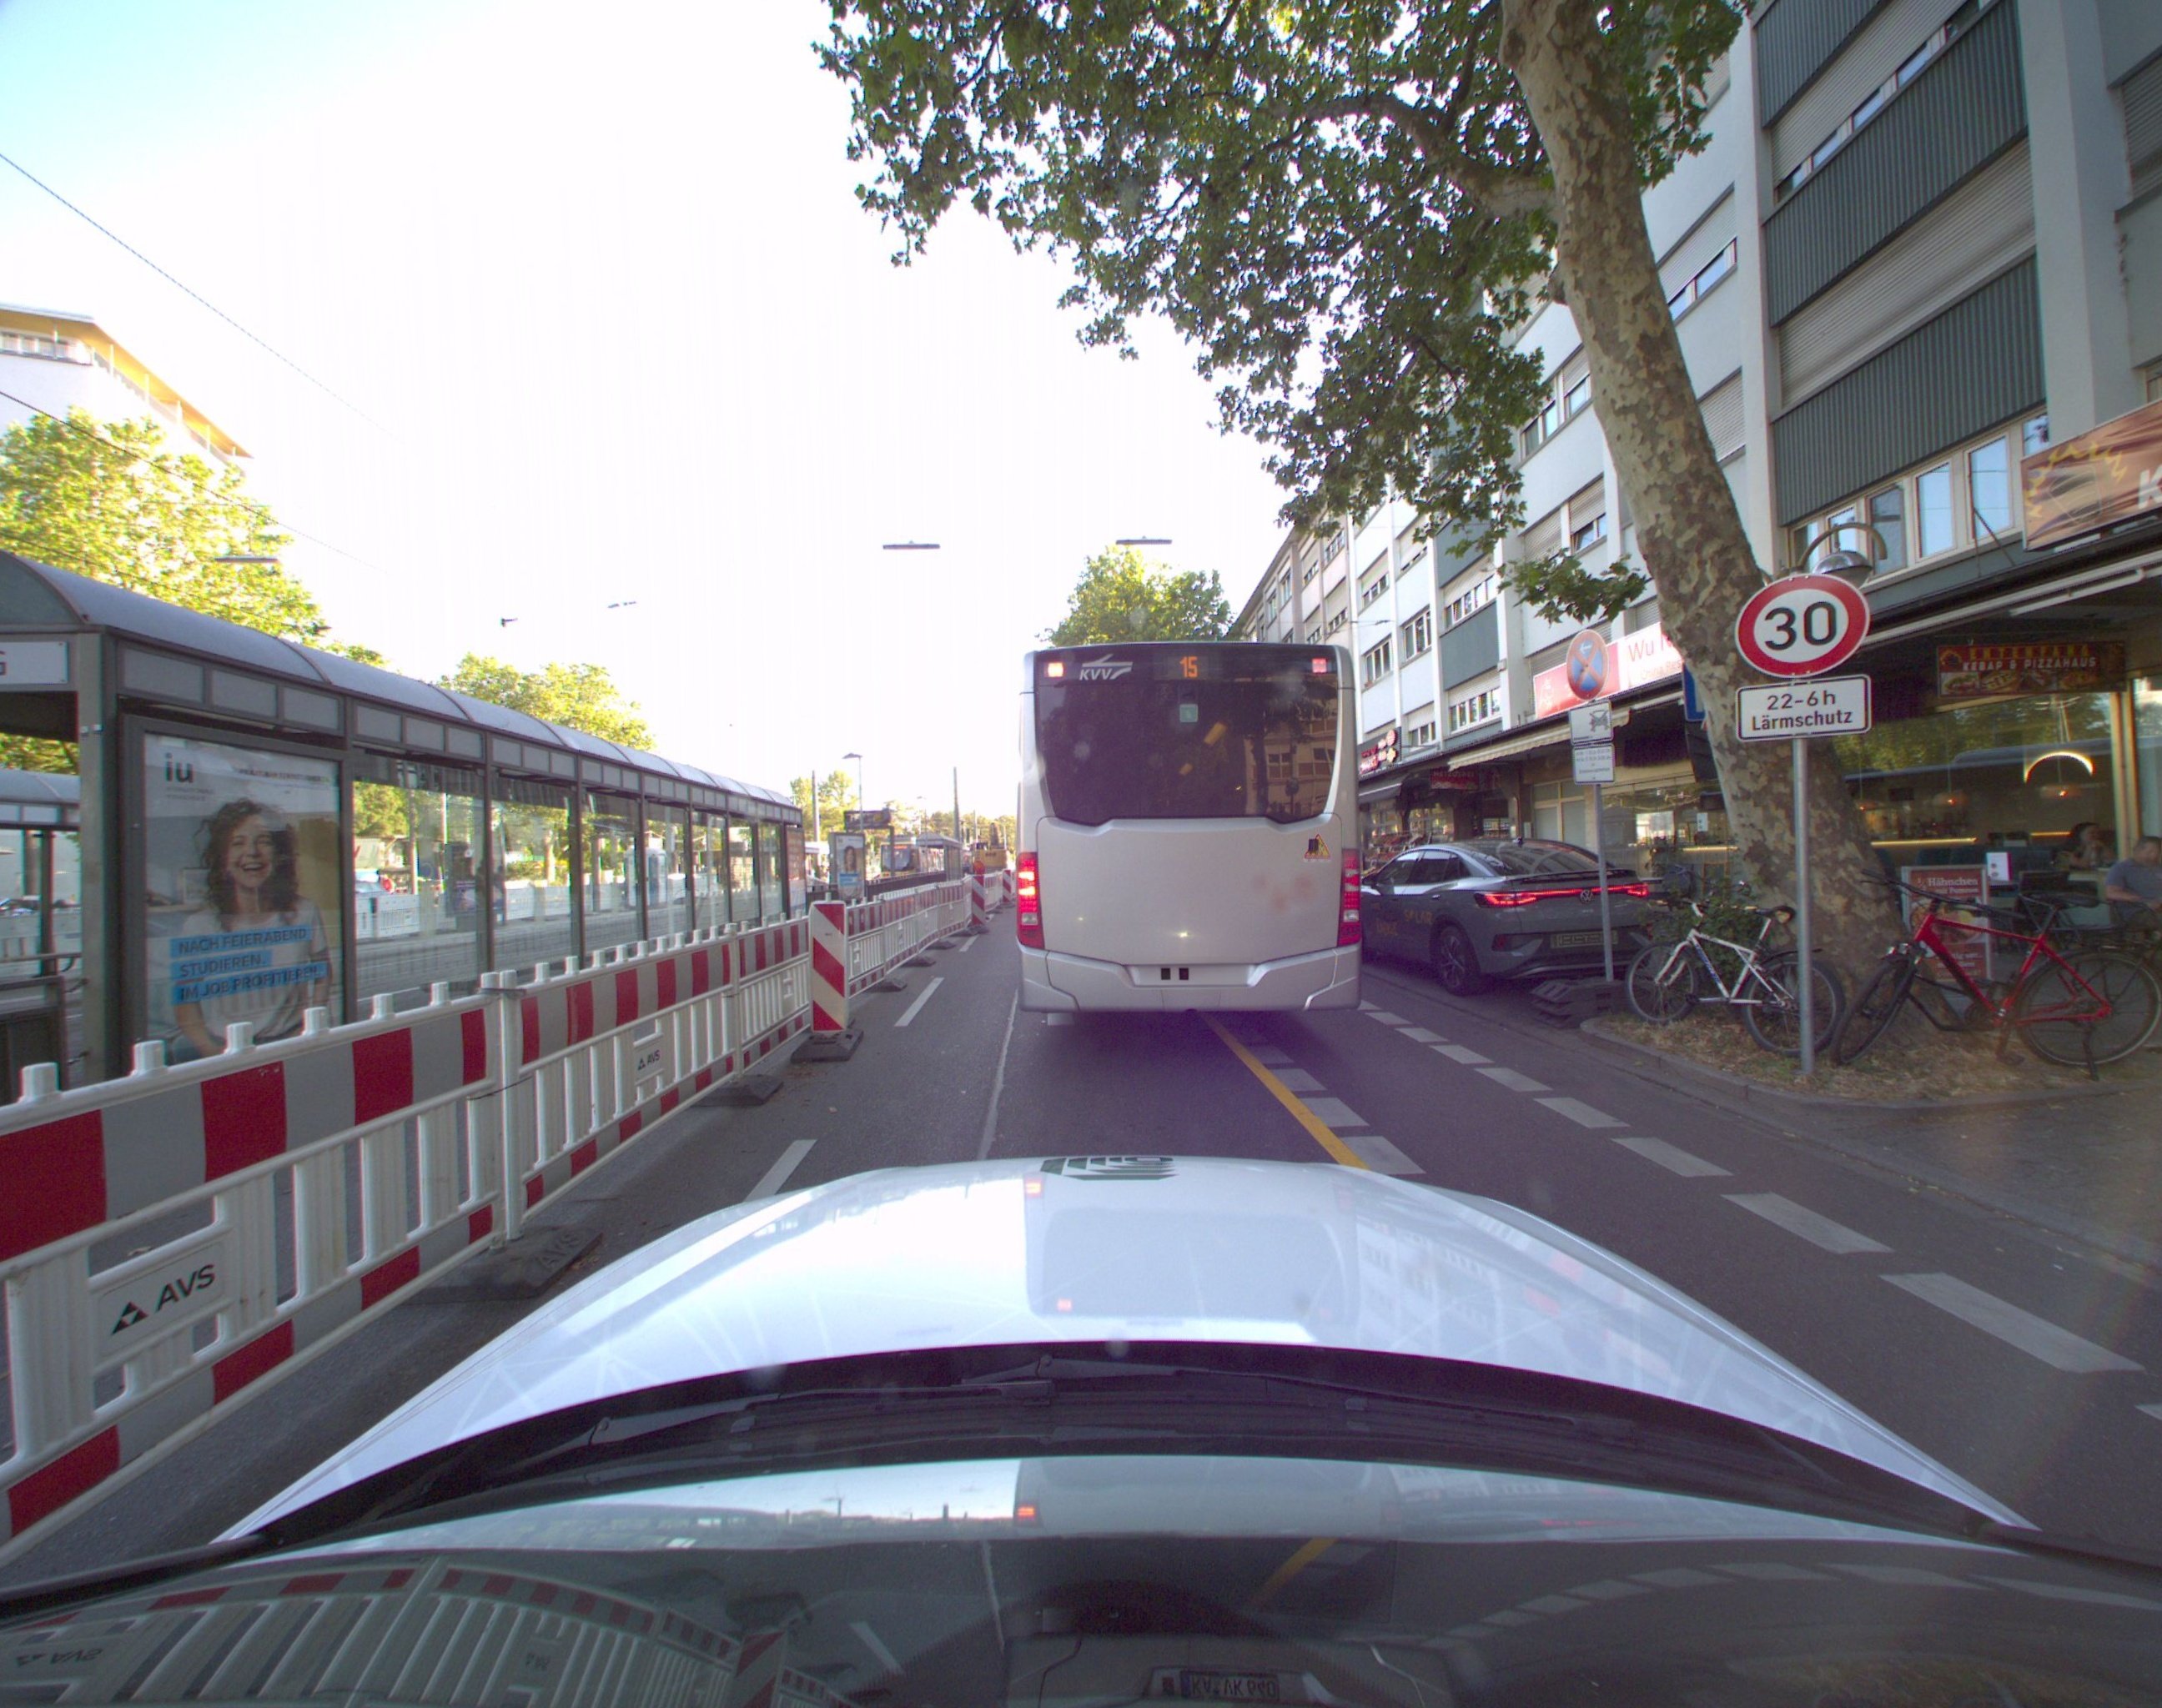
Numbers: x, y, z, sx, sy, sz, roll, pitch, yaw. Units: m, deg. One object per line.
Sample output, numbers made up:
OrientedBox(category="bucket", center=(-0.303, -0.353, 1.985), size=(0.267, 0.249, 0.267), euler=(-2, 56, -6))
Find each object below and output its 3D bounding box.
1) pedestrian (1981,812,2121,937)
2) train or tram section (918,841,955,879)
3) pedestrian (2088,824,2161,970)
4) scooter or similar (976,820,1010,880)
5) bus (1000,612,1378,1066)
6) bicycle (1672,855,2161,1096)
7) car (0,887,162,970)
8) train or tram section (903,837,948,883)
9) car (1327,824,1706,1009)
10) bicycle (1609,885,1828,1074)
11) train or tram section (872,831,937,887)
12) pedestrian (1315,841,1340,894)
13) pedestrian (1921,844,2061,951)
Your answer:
OrientedBox(category="pedestrian", center=(11.089, 0.225, 9.334), size=(0.836, 1.333, 0.963), euler=(-2, -1, -39))
OrientedBox(category="train or tram section", center=(-14.212, 0.613, 80.859), size=(2.683, 3.533, 11.558), euler=(0, -1, -6))
OrientedBox(category="pedestrian", center=(9.654, 0.367, 7.212), size=(0.555, 1.245, 0.692), euler=(-4, 0, 8))
OrientedBox(category="scooter or similar", center=(-6.925, -0.301, 64.719), size=(2.465, 4.471, 5.961), euler=(-2, -1, -5))
OrientedBox(category="bus", center=(0.872, -0.079, 9.623), size=(2.601, 3.126, 7.996), euler=(0, 0, 2))
OrientedBox(category="bicycle", center=(5.050, 0.720, 4.822), size=(2.370, 1.155, 0.557), euler=(-7, -2, 14))
OrientedBox(category="car", center=(-23.907, 1.673, 18.286), size=(1.988, 1.662, 3.997), euler=(-2, -1, -1))
OrientedBox(category="train or tram section", center=(-13.100, 0.528, 69.357), size=(2.682, 3.558, 11.559), euler=(0, -1, -5))
OrientedBox(category="car", center=(4.733, 0.576, 9.772), size=(1.989, 1.582, 4.364), euler=(-4, 0, -3))
OrientedBox(category="bicycle", center=(4.567, 0.835, 5.964), size=(0.550, 1.155, 1.446), euler=(-2, -1, 6))
OrientedBox(category="train or tram section", center=(-12.244, 0.378, 57.574), size=(2.681, 3.534, 11.756), euler=(0, -1, -3))
OrientedBox(category="pedestrian", center=(7.966, 0.423, 26.273), size=(0.658, 1.666, 0.603), euler=(-4, -1, 18))
OrientedBox(category="pedestrian", center=(9.853, 0.451, 8.831), size=(0.643, 1.081, 0.945), euler=(-2, -1, -39))
